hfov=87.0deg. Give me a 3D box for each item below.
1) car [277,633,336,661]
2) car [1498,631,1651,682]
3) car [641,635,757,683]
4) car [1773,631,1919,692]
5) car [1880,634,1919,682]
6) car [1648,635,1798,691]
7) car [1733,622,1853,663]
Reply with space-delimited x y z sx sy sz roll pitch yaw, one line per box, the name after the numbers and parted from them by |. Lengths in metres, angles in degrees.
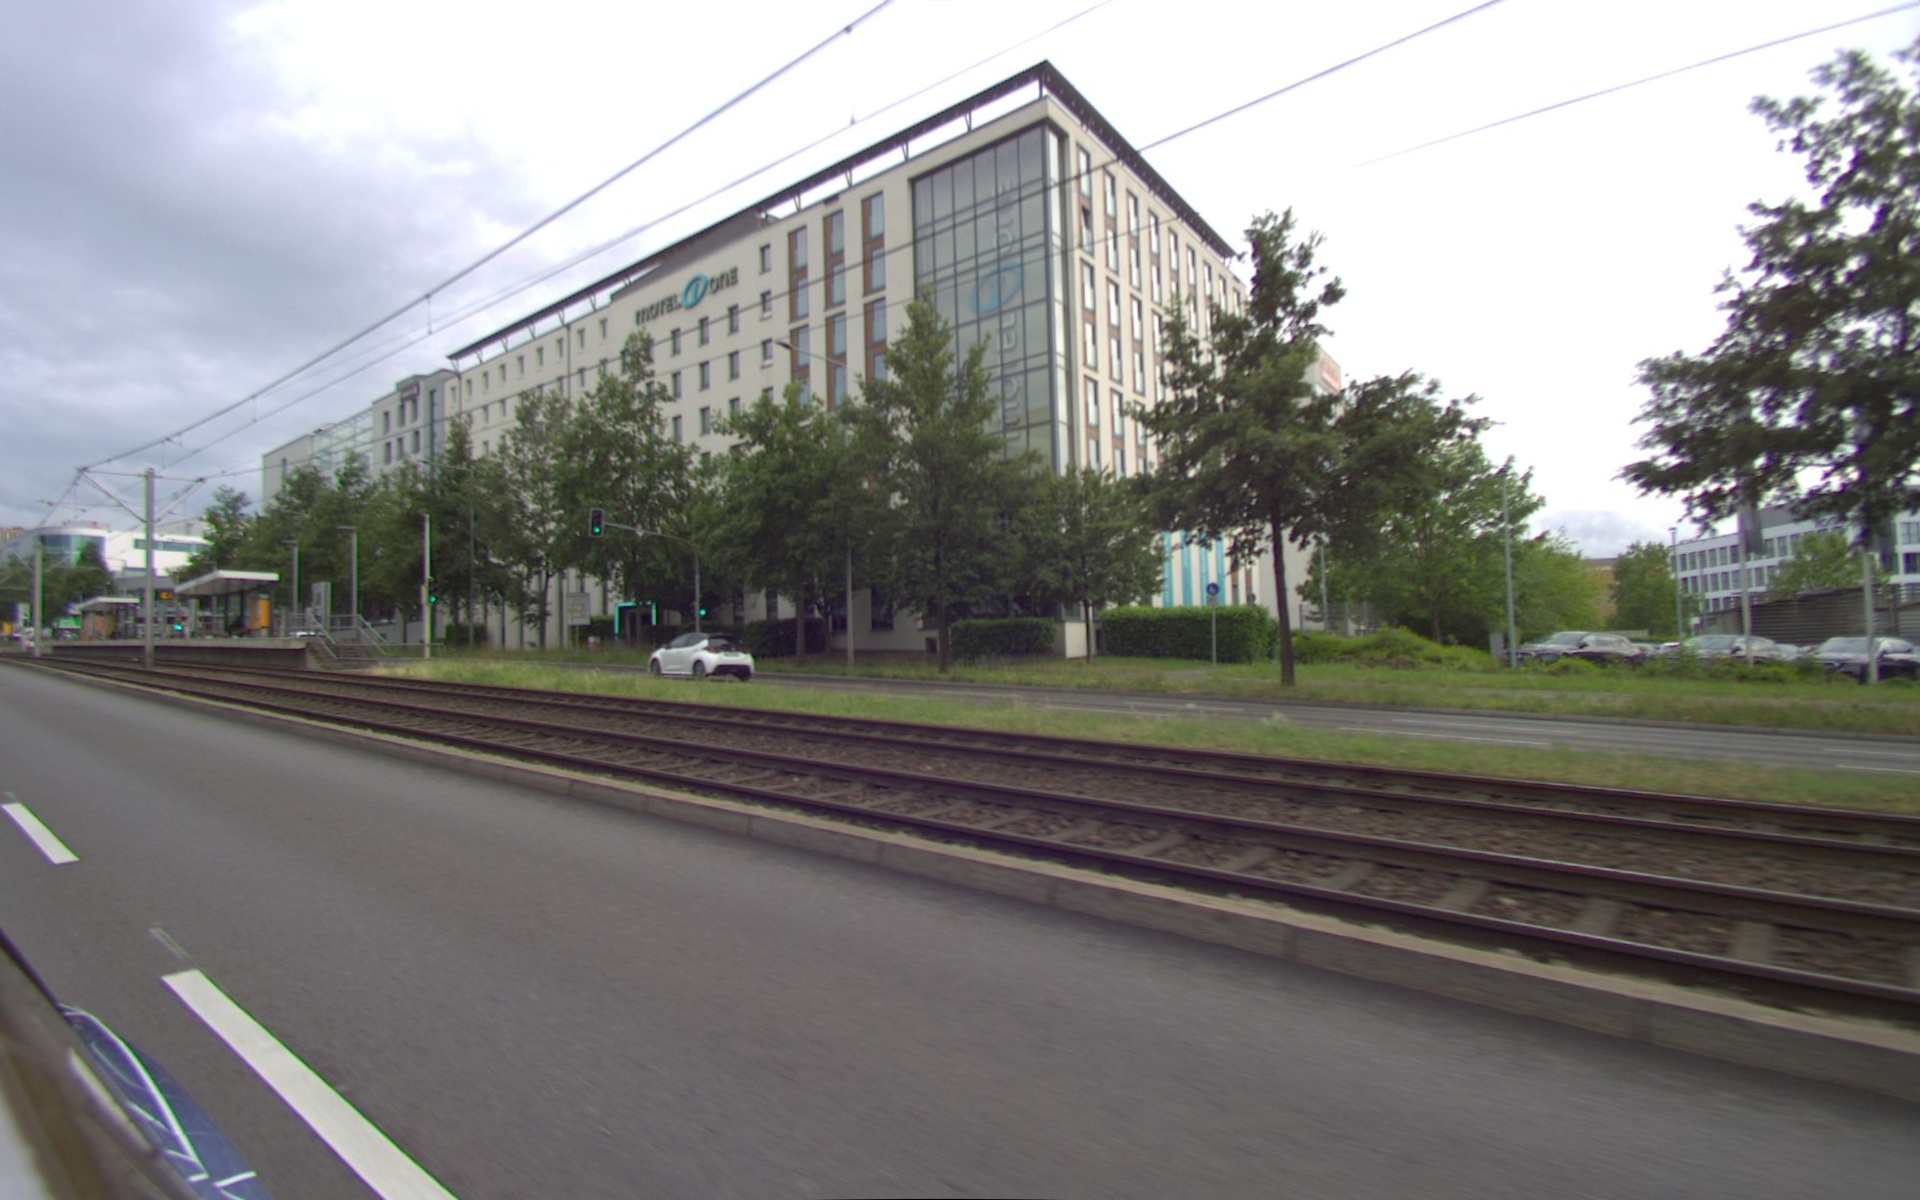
-33.930 2.438 52.524 3.561 1.375 1.679 -2 -5 43 | car
19.249 1.752 31.771 3.933 1.401 1.808 -1 0 -13 | car
-8.124 1.822 31.345 3.817 1.375 1.679 -2 -5 43 | car
24.372 1.630 27.572 3.930 1.401 1.809 -1 0 -23 | car
31.490 1.818 32.059 3.931 1.401 1.809 -1 0 -20 | car
22.500 1.812 29.840 3.930 1.401 1.809 -1 0 -23 | car
32.610 1.640 39.616 3.931 1.401 1.809 -1 0 -19 | car
